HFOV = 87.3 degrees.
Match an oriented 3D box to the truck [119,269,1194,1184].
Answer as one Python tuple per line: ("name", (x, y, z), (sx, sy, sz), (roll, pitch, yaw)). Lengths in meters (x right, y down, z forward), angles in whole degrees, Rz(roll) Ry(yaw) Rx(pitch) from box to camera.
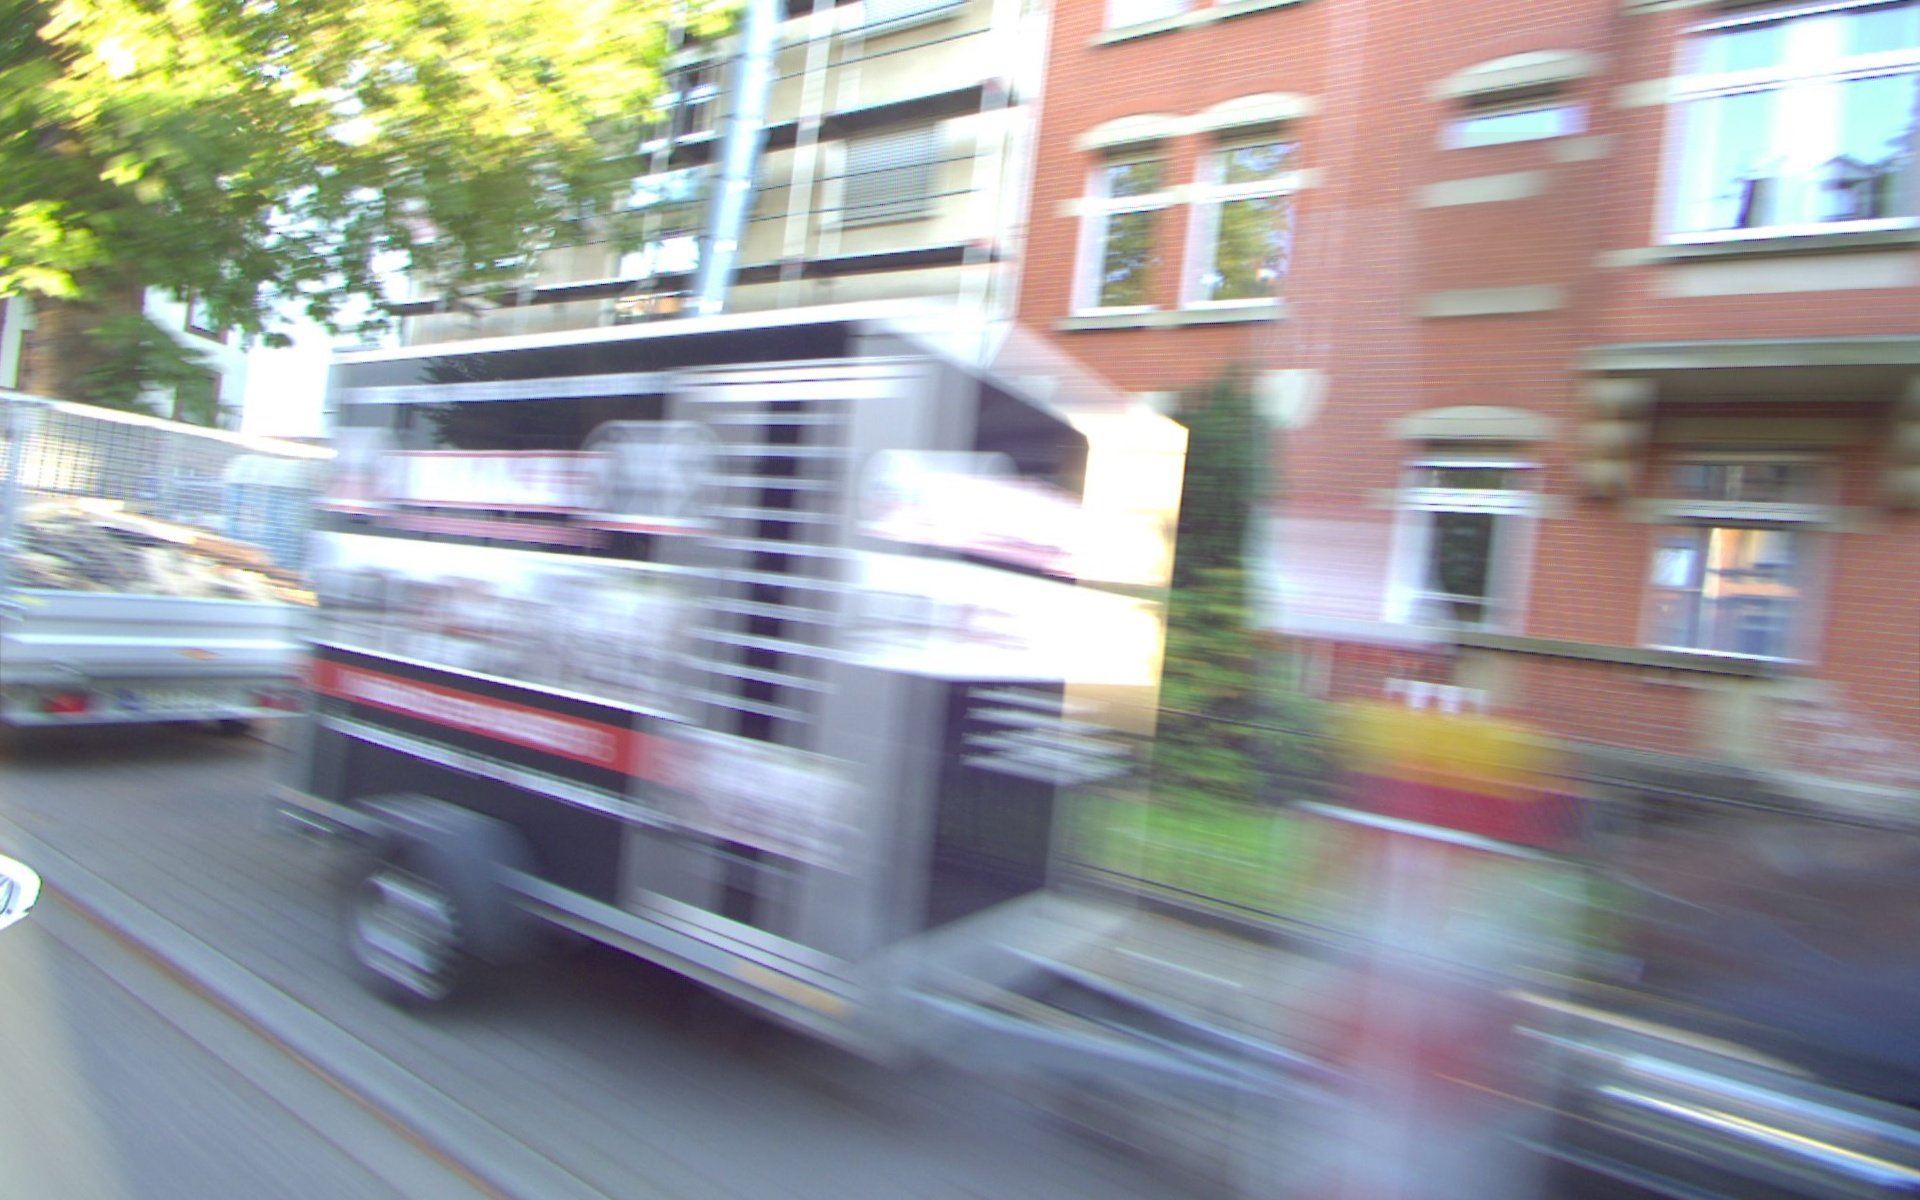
("truck", (-1.596, 0.137, 4.528), (4.568, 2.276, 1.955), (7, 2, 32))

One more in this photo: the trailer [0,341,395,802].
("trailer", (-6.288, -0.304, 7.054), (4.567, 2.325, 1.955), (7, 2, 32))

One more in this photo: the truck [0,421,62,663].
("truck", (-12.250, -0.898, 10.619), (6.661, 2.271, 1.981), (6, -1, 30))

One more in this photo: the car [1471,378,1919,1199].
("car", (3.190, 0.943, 1.139), (4.536, 1.968, 1.840), (7, 2, 31))
